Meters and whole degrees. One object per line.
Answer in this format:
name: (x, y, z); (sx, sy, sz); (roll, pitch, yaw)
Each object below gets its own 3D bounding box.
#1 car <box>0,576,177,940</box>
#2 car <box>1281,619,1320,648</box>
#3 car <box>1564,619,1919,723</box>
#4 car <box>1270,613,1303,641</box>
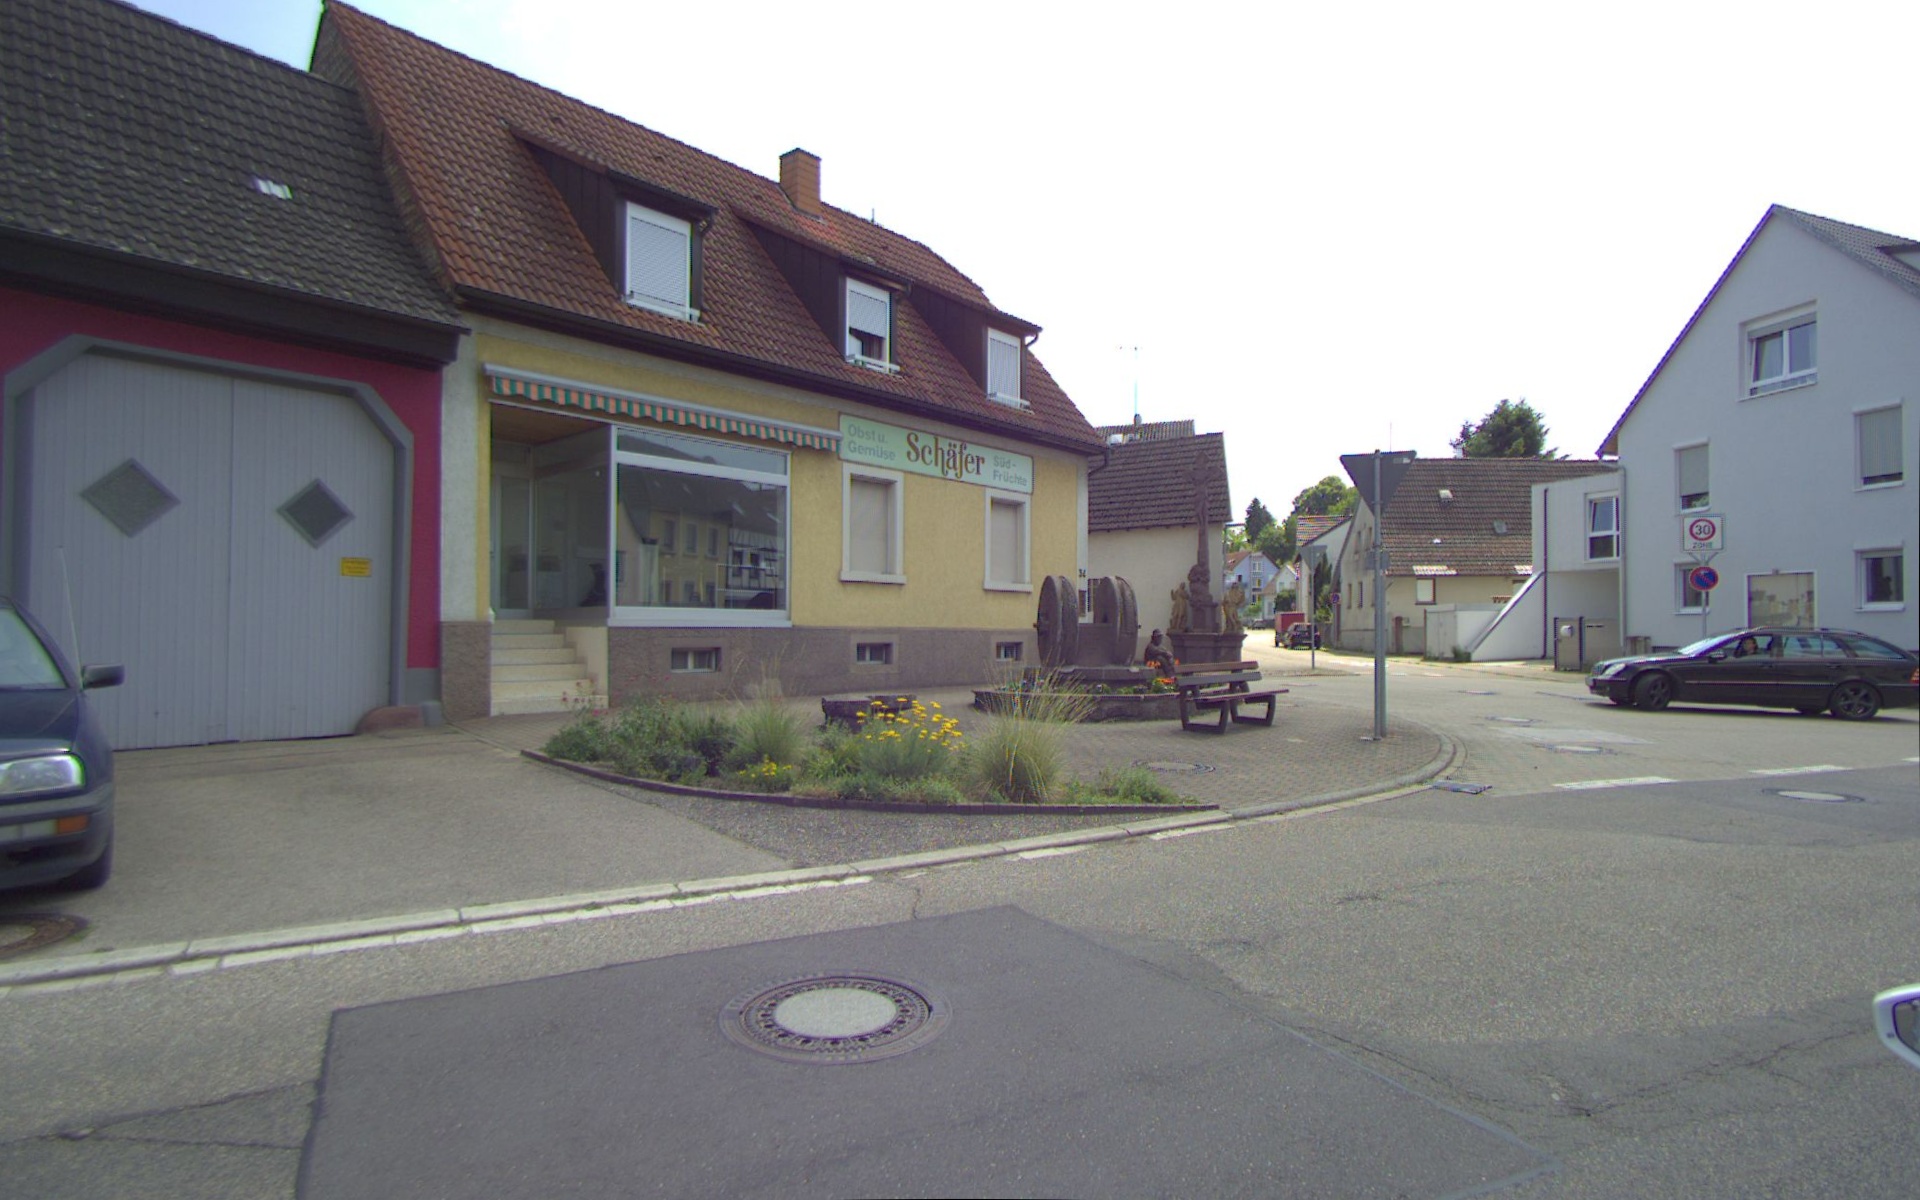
car: (-5.539, 0.620, 5.205); (3.923, 1.483, 1.712); (1, -1, 43)
car: (19.179, 1.900, 56.721); (1.461, 1.550, 3.479); (2, -2, 9)
car: (12.880, 1.118, 16.788); (4.547, 1.430, 1.813); (1, -2, 23)
car: (20.233, 1.694, 62.315); (1.369, 1.656, 3.479); (2, -2, 9)
